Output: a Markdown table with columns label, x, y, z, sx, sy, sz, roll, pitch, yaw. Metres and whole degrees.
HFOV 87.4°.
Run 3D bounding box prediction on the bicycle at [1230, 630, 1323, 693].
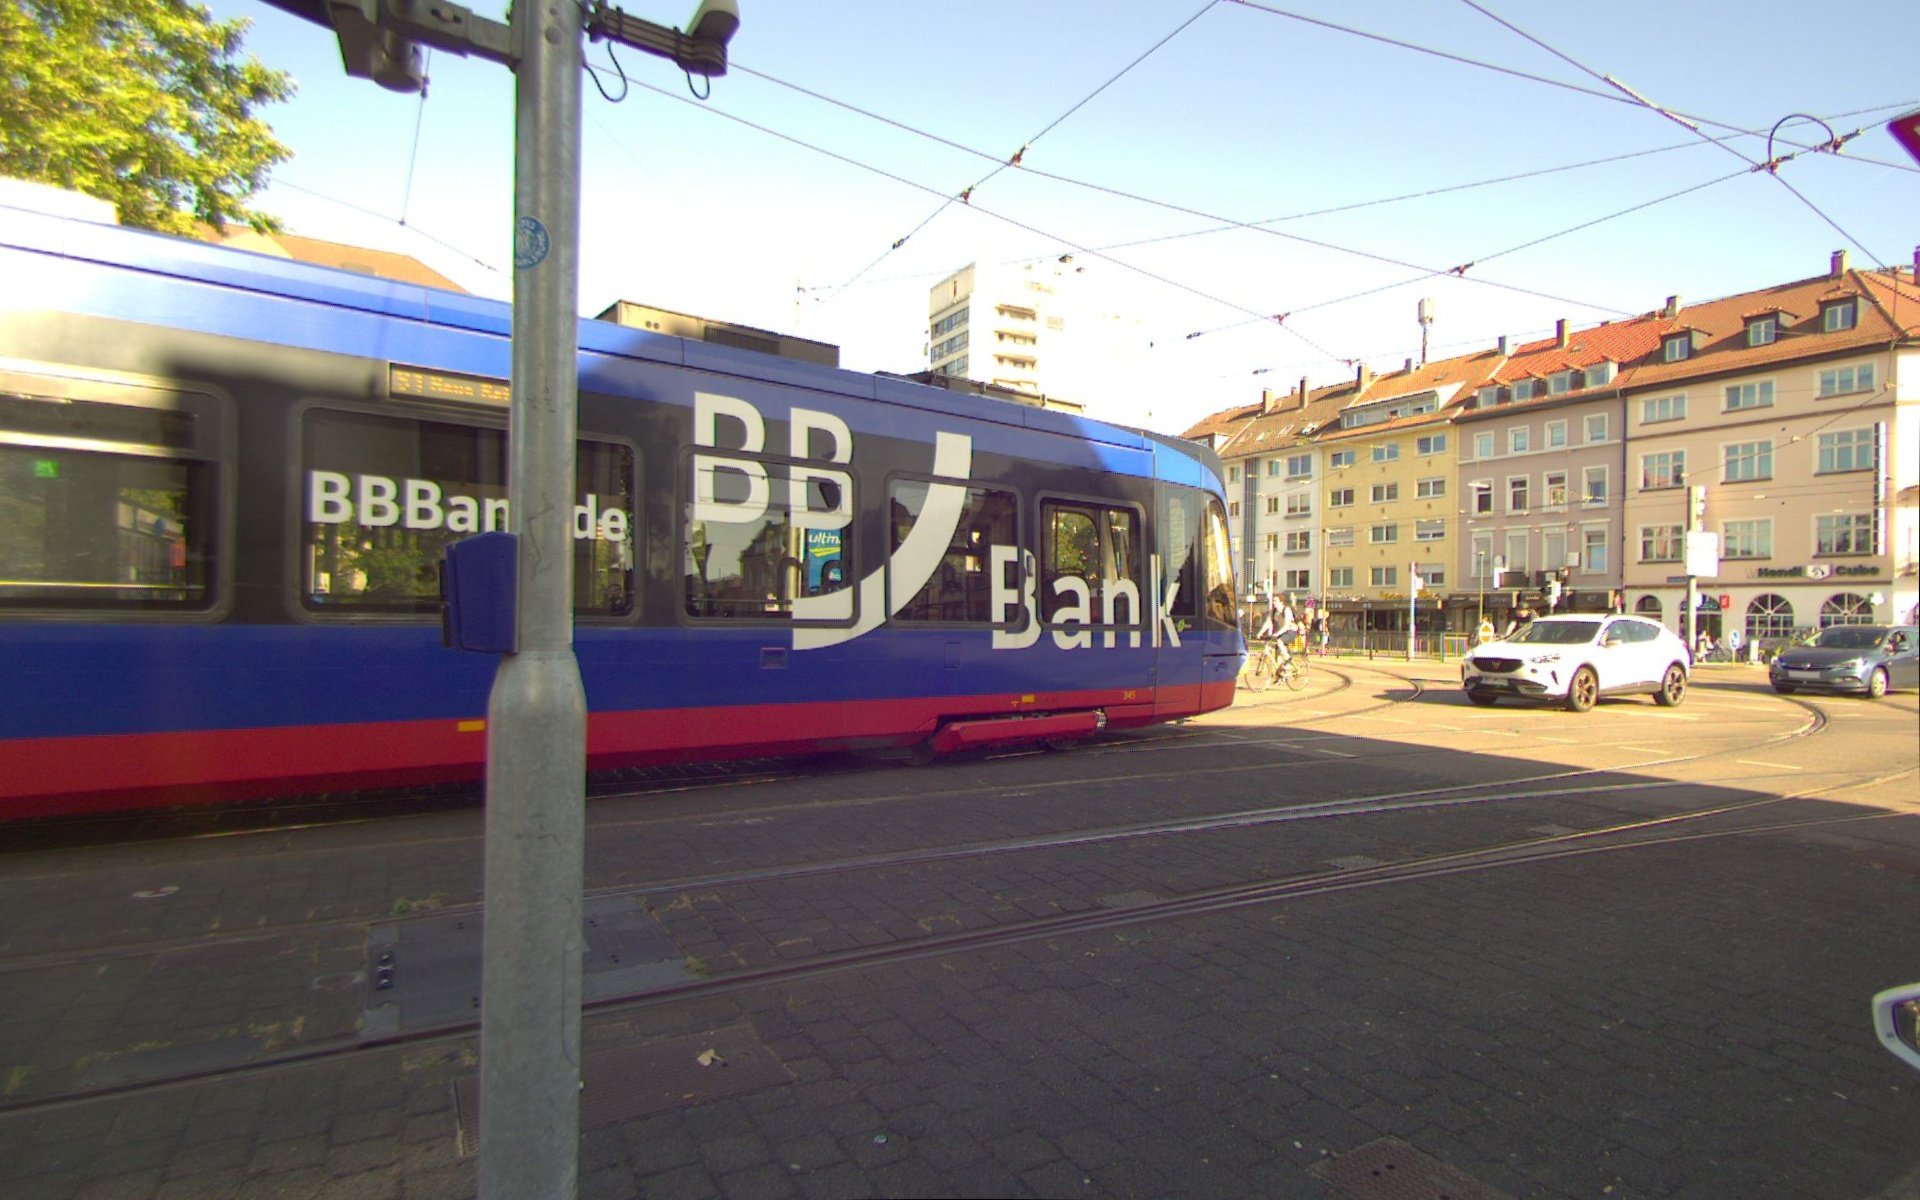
| label | x | y | z | sx | sy | sz | roll | pitch | yaw |
| --- | --- | --- | --- | --- | --- | --- | --- | --- | --- |
| bicycle | 6.191 | 1.185 | 19.598 | 2.032 | 1.181 | 0.483 | 1 | -1 | -31 |

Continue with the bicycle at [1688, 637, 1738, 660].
| label | x | y | z | sx | sy | sz | roll | pitch | yaw |
| --- | --- | --- | --- | --- | --- | --- | --- | --- | --- |
| bicycle | 37.670 | 2.396 | 50.285 | 0.578 | 1.081 | 1.929 | 1 | -1 | -36 |

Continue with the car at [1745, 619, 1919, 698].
| label | x | y | z | sx | sy | sz | roll | pitch | yaw |
| --- | --- | --- | --- | --- | --- | --- | --- | --- | --- |
| car | 18.924 | 1.194 | 21.334 | 4.513 | 1.517 | 1.768 | 1 | -1 | -26 |

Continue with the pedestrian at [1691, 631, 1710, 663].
| label | x | y | z | sx | sy | sz | roll | pitch | yaw |
| --- | --- | --- | --- | --- | --- | --- | --- | --- | --- |
| pedestrian | 36.043 | 2.294 | 48.881 | 0.691 | 1.544 | 0.651 | 1 | -1 | -45 |

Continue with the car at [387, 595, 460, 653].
| label | x | y | z | sx | sy | sz | roll | pitch | yaw |
| --- | --- | --- | --- | --- | --- | --- | --- | --- | --- |
| car | -15.320 | 0.665 | 28.610 | 1.697 | 1.506 | 4.185 | 1 | -1 | -30 |

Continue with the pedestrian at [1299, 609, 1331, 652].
| label | x | y | z | sx | sy | sz | roll | pitch | yaw |
| --- | --- | --- | --- | --- | --- | --- | --- | --- | --- |
| pedestrian | 14.713 | 1.255 | 41.629 | 0.831 | 1.756 | 0.898 | 1 | -1 | -30 |

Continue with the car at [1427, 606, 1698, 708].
| label | x | y | z | sx | sy | sz | roll | pitch | yaw |
| --- | --- | --- | --- | --- | --- | --- | --- | --- | --- |
| car | 10.108 | 0.903 | 16.823 | 4.293 | 1.517 | 1.986 | 1 | -1 | -28 |

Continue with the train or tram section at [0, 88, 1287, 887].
| label | x | y | z | sx | sy | sz | roll | pitch | yaw |
| --- | --- | --- | --- | --- | --- | --- | --- | --- | --- |
| train or tram section | -1.709 | -0.399 | 8.948 | 12.019 | 3.661 | 3.029 | 2 | -1 | -41 |

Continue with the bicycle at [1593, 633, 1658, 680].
| label | x | y | z | sx | sy | sz | roll | pitch | yaw |
| --- | --- | --- | --- | --- | --- | --- | --- | --- | --- |
| bicycle | 17.441 | 1.479 | 26.311 | 1.931 | 1.181 | 0.484 | 1 | -1 | -24 |

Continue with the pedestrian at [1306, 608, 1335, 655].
| label | x | y | z | sx | sy | sz | roll | pitch | yaw |
| --- | --- | --- | --- | --- | --- | --- | --- | --- | --- |
| pedestrian | 13.735 | 1.187 | 38.272 | 0.647 | 1.756 | 0.794 | 1 | -1 | -33 |

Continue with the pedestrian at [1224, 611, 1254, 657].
| label | x | y | z | sx | sy | sz | roll | pitch | yaw |
| --- | --- | --- | --- | --- | --- | --- | --- | --- | --- |
| pedestrian | 10.875 | 1.312 | 39.205 | 0.833 | 1.746 | 0.824 | 1 | -1 | -8 |

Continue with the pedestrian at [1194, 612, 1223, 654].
| label | x | y | z | sx | sy | sz | roll | pitch | yaw |
| --- | --- | --- | --- | --- | --- | --- | --- | --- | --- |
| pedestrian | 9.894 | 1.311 | 39.998 | 0.794 | 1.652 | 0.863 | 1 | -1 | -12 |

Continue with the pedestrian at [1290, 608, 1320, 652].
| label | x | y | z | sx | sy | sz | roll | pitch | yaw |
| --- | --- | --- | --- | --- | --- | --- | --- | --- | --- |
| pedestrian | 14.006 | 1.213 | 40.756 | 0.779 | 1.756 | 0.817 | 1 | -1 | -29 |

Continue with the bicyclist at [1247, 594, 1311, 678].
| label | x | y | z | sx | sy | sz | roll | pitch | yaw |
| --- | --- | --- | --- | --- | --- | --- | --- | --- | --- |
| bicyclist | 6.236 | 0.694 | 19.614 | 0.975 | 1.580 | 0.711 | 1 | -1 | -30 |

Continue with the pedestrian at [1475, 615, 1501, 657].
| label | x | y | z | sx | sy | sz | roll | pitch | yaw |
| --- | --- | --- | --- | --- | --- | --- | --- | --- | --- |
| pedestrian | 20.908 | 1.417 | 39.769 | 0.713 | 1.648 | 0.672 | 1 | -1 | 4 |

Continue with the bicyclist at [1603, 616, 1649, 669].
| label | x | y | z | sx | sy | sz | roll | pitch | yaw |
| --- | --- | --- | --- | --- | --- | --- | --- | --- | --- |
| bicyclist | 17.438 | 1.107 | 26.301 | 0.885 | 1.357 | 0.602 | 1 | -1 | -24 |
